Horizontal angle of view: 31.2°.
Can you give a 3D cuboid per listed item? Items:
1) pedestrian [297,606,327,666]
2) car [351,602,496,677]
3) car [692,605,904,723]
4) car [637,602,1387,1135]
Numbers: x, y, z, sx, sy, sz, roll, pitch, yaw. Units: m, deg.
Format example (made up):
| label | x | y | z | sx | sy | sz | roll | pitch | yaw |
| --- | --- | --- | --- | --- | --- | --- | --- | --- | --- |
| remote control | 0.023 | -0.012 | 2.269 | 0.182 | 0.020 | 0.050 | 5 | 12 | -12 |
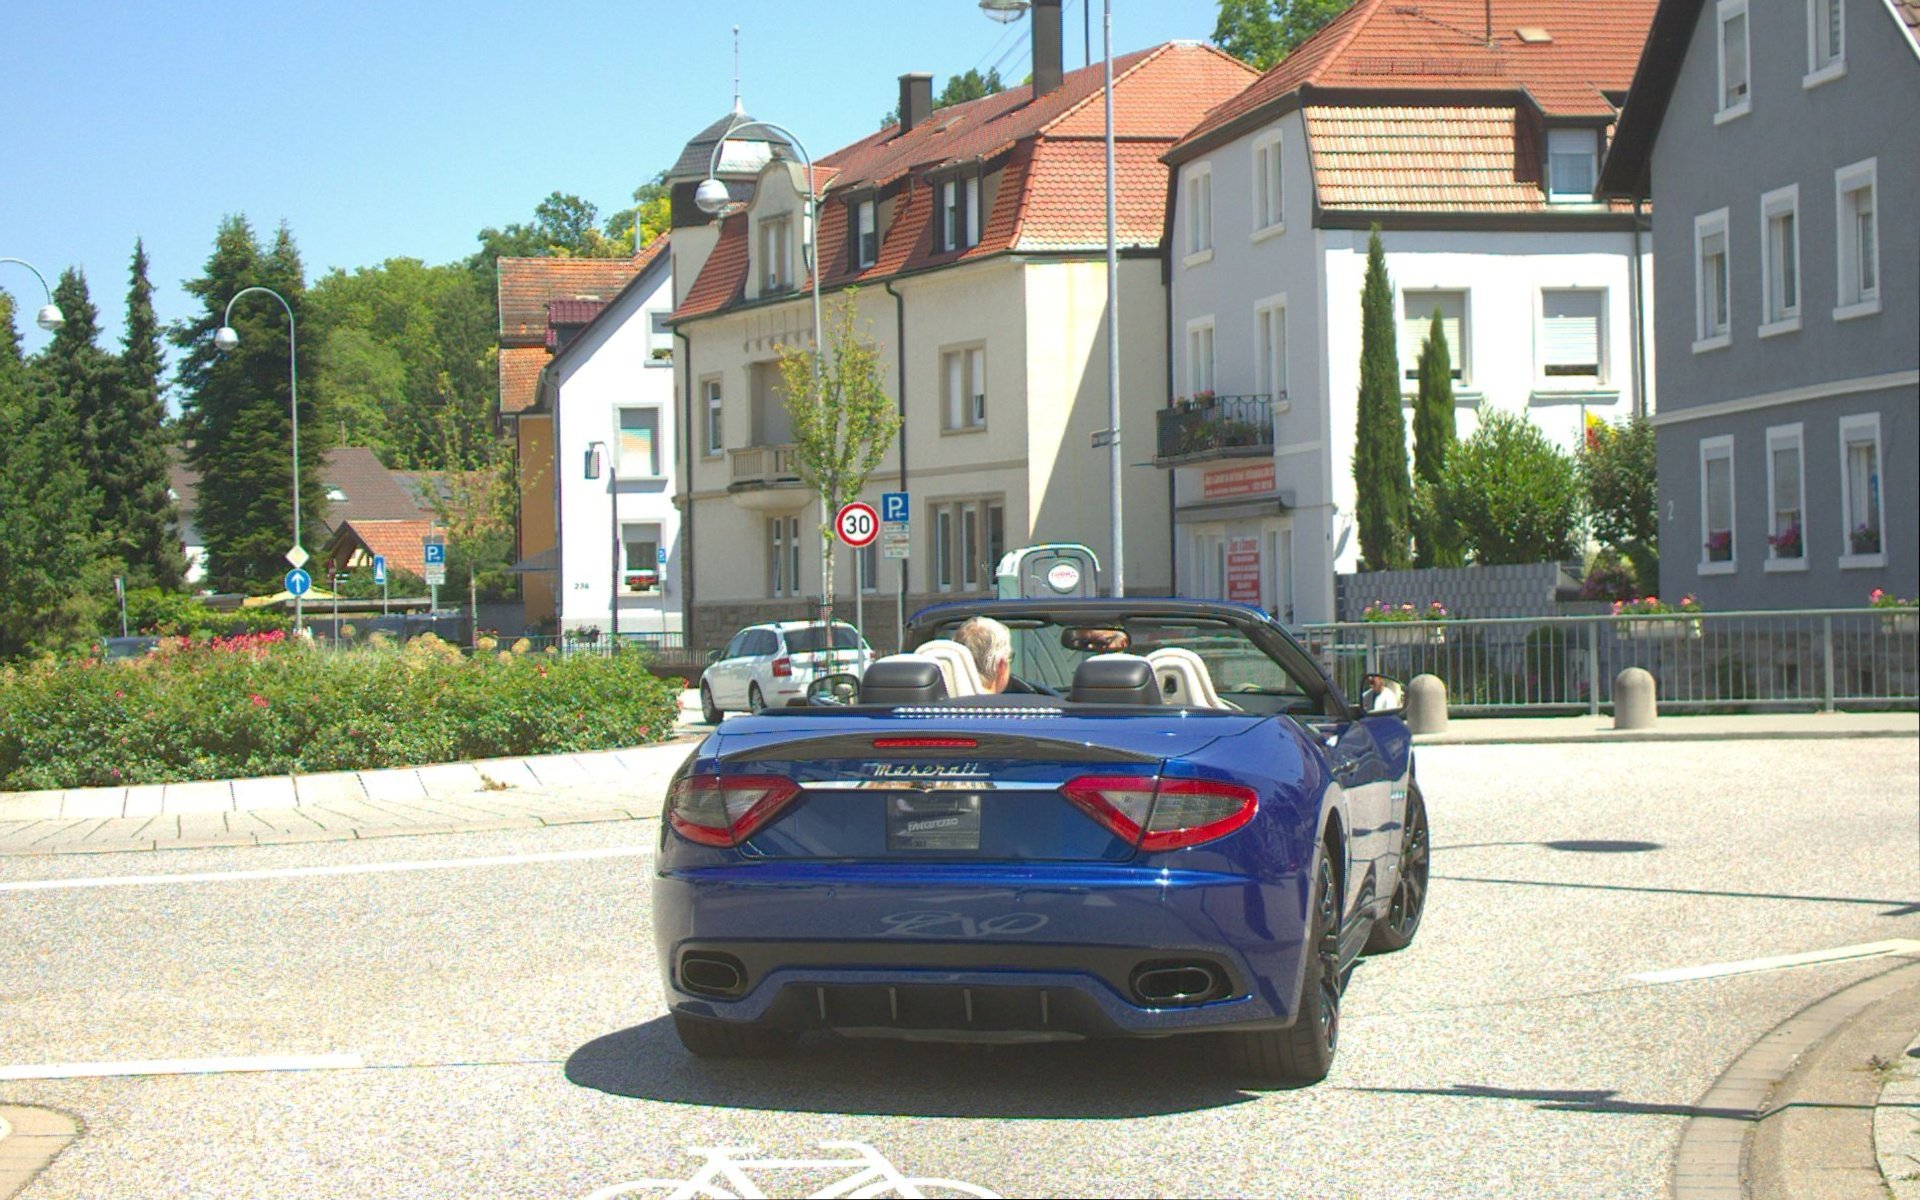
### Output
| label | x | y | z | sx | sy | sz | roll | pitch | yaw |
| --- | --- | --- | --- | --- | --- | --- | --- | --- | --- |
| pedestrian | -17.237 | 0.951 | 91.439 | 0.611 | 1.580 | 0.587 | -2 | 0 | -27 |
| car | -12.200 | 0.906 | 77.948 | 1.850 | 1.583 | 4.000 | -3 | 0 | -30 |
| car | -2.435 | 0.957 | 50.575 | 1.918 | 1.607 | 4.148 | -2 | -1 | -20 |
| car | 0.167 | 0.688 | 10.925 | 1.910 | 1.356 | 4.285 | 0 | 0 | 1 |
